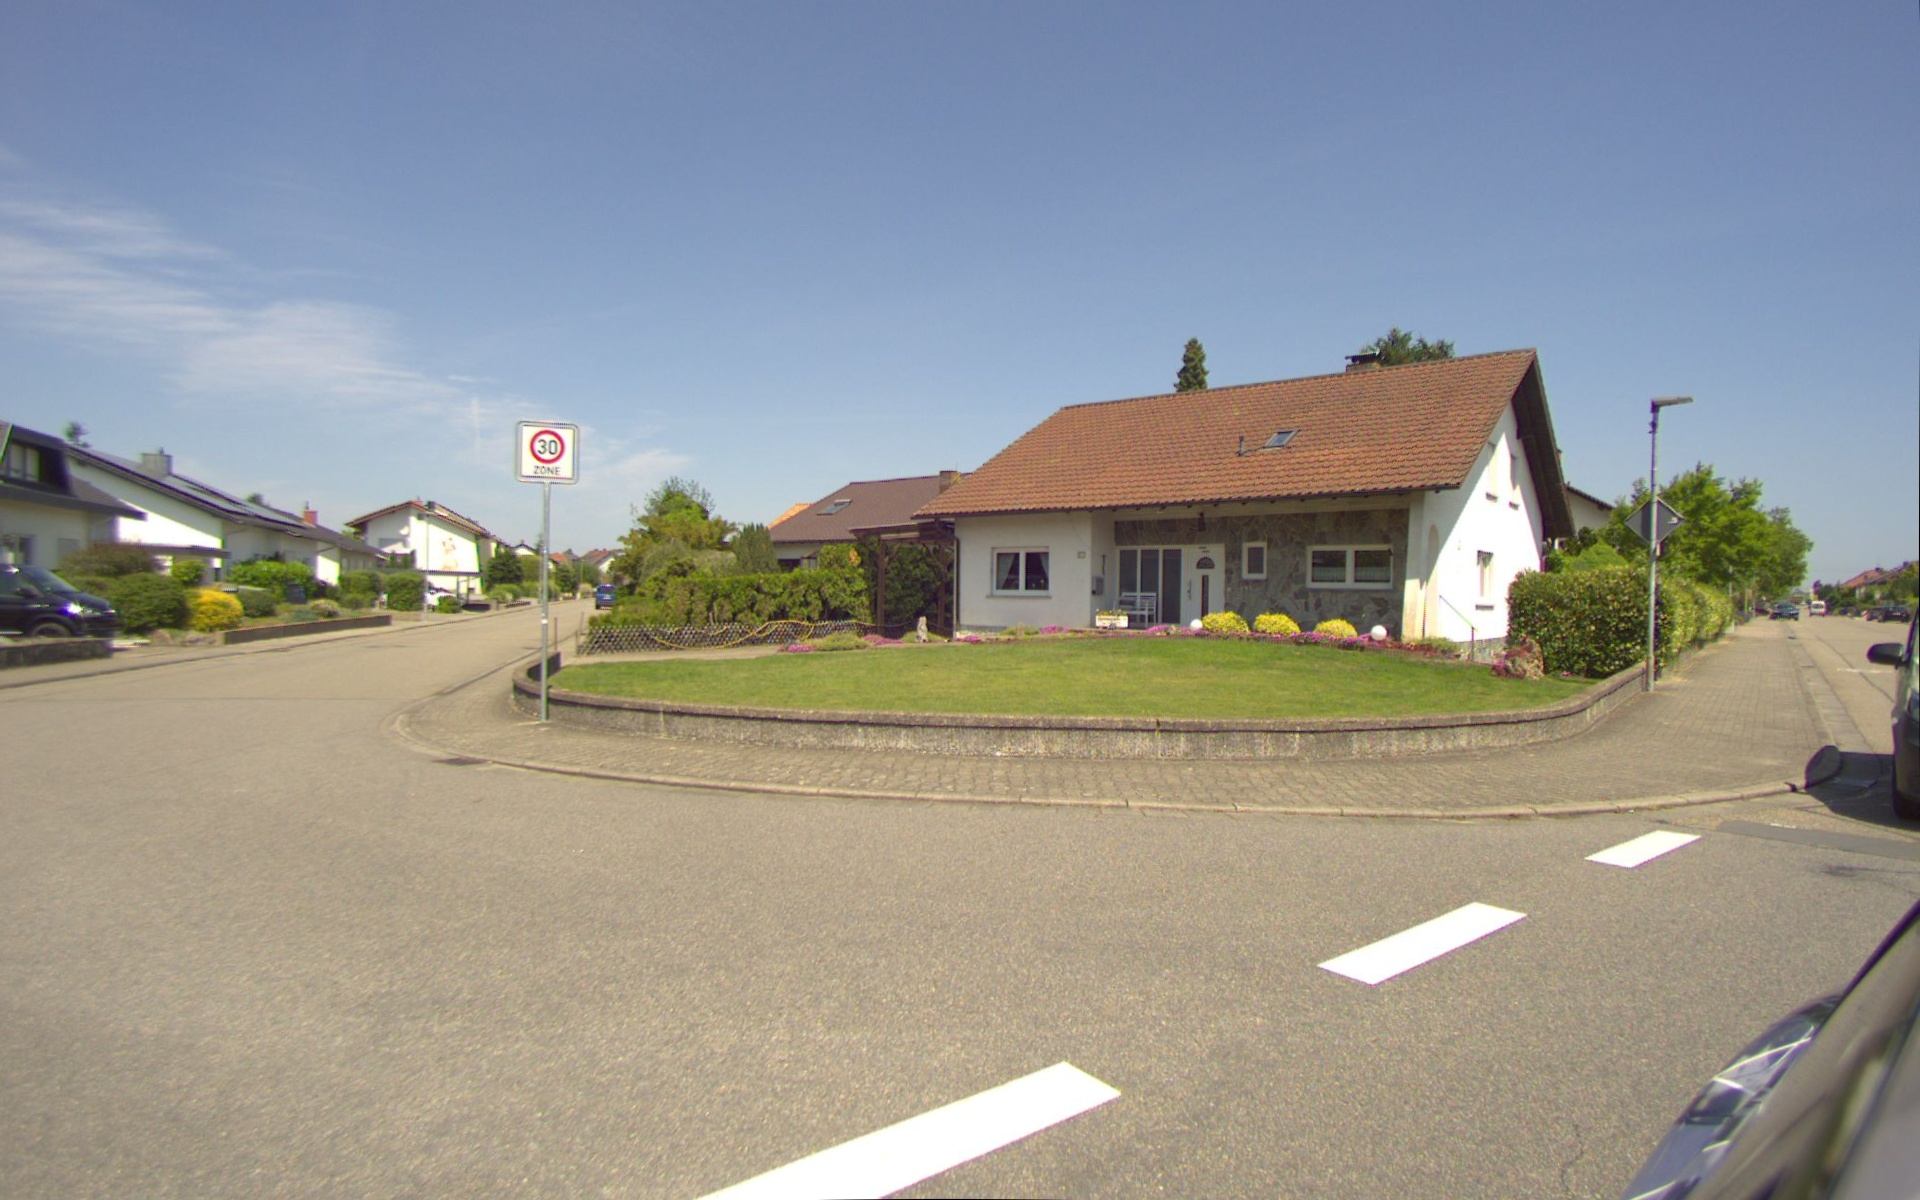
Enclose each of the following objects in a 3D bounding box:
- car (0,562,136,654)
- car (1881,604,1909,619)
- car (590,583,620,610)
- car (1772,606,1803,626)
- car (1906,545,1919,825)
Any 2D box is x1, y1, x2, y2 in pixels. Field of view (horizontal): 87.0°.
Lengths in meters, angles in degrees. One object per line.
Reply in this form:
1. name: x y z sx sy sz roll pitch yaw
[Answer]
1. car: -21.197 0.157 21.896 4.863 1.939 1.932 0 0 -23
2. car: 91.180 1.104 98.721 1.992 1.415 3.939 1 1 42
3. car: -26.141 -0.260 74.557 1.790 1.905 4.009 0 1 -15
4. car: 73.840 1.393 90.255 1.992 1.616 3.940 1 1 42
5. car: 8.827 0.566 7.937 2.013 1.879 4.988 1 1 44
